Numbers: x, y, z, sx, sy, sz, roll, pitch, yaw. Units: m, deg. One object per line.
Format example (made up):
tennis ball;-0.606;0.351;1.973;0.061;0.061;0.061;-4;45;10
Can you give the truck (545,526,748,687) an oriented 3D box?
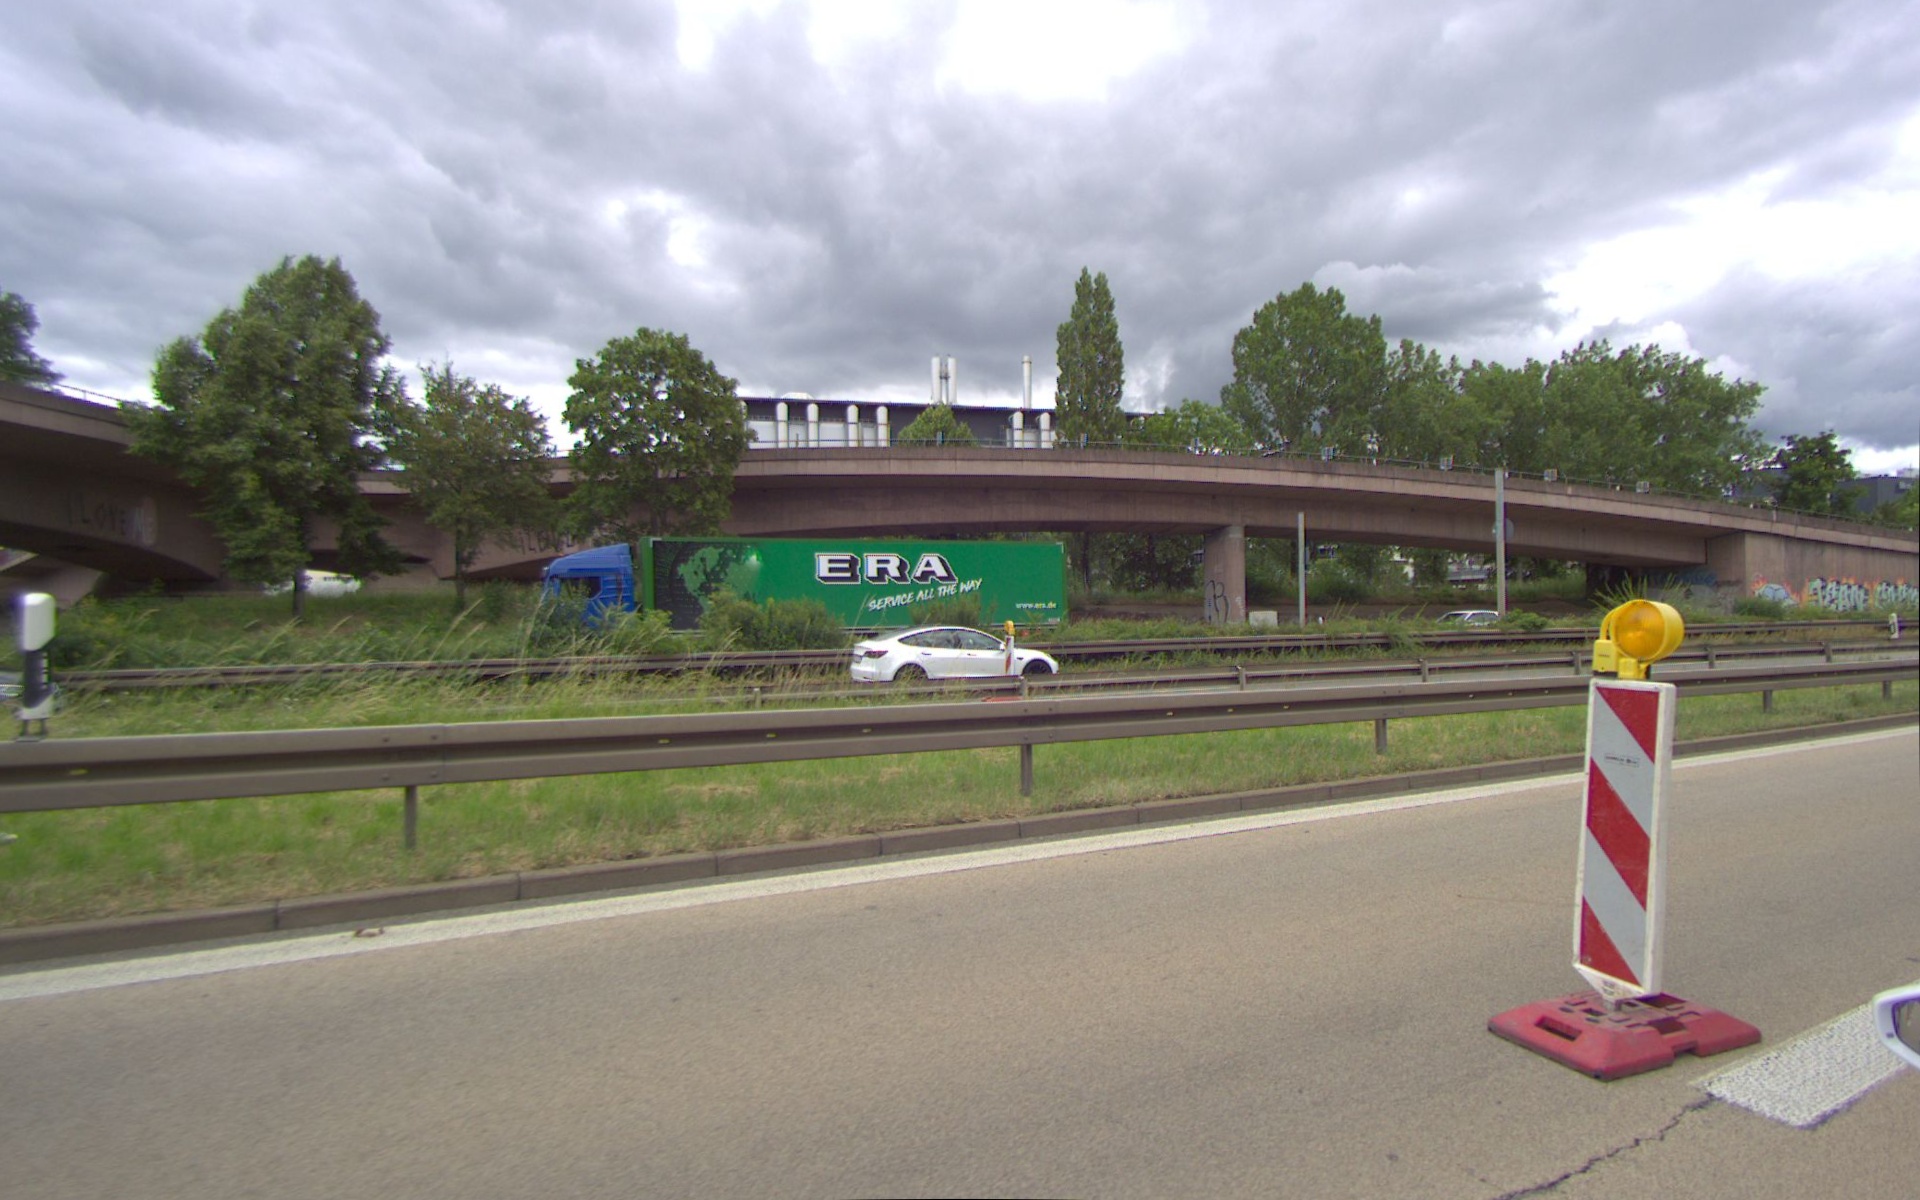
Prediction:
truck;-9.142;0.180;29.347;5.421;4.329;2.748;0;0;-22

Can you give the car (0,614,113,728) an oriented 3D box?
car;-15.723;1.038;14.792;4.509;1.636;2.034;0;0;-21

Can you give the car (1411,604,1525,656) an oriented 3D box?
car;20.779;1.185;41.118;3.937;2.040;1.992;0;0;-18

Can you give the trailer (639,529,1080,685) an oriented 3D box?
trailer;-2.908;0.201;31.914;13.775;4.351;2.766;0;0;-22

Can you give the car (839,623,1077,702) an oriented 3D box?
car;-0.046;1.264;21.548;4.729;1.475;1.990;0;0;-21
